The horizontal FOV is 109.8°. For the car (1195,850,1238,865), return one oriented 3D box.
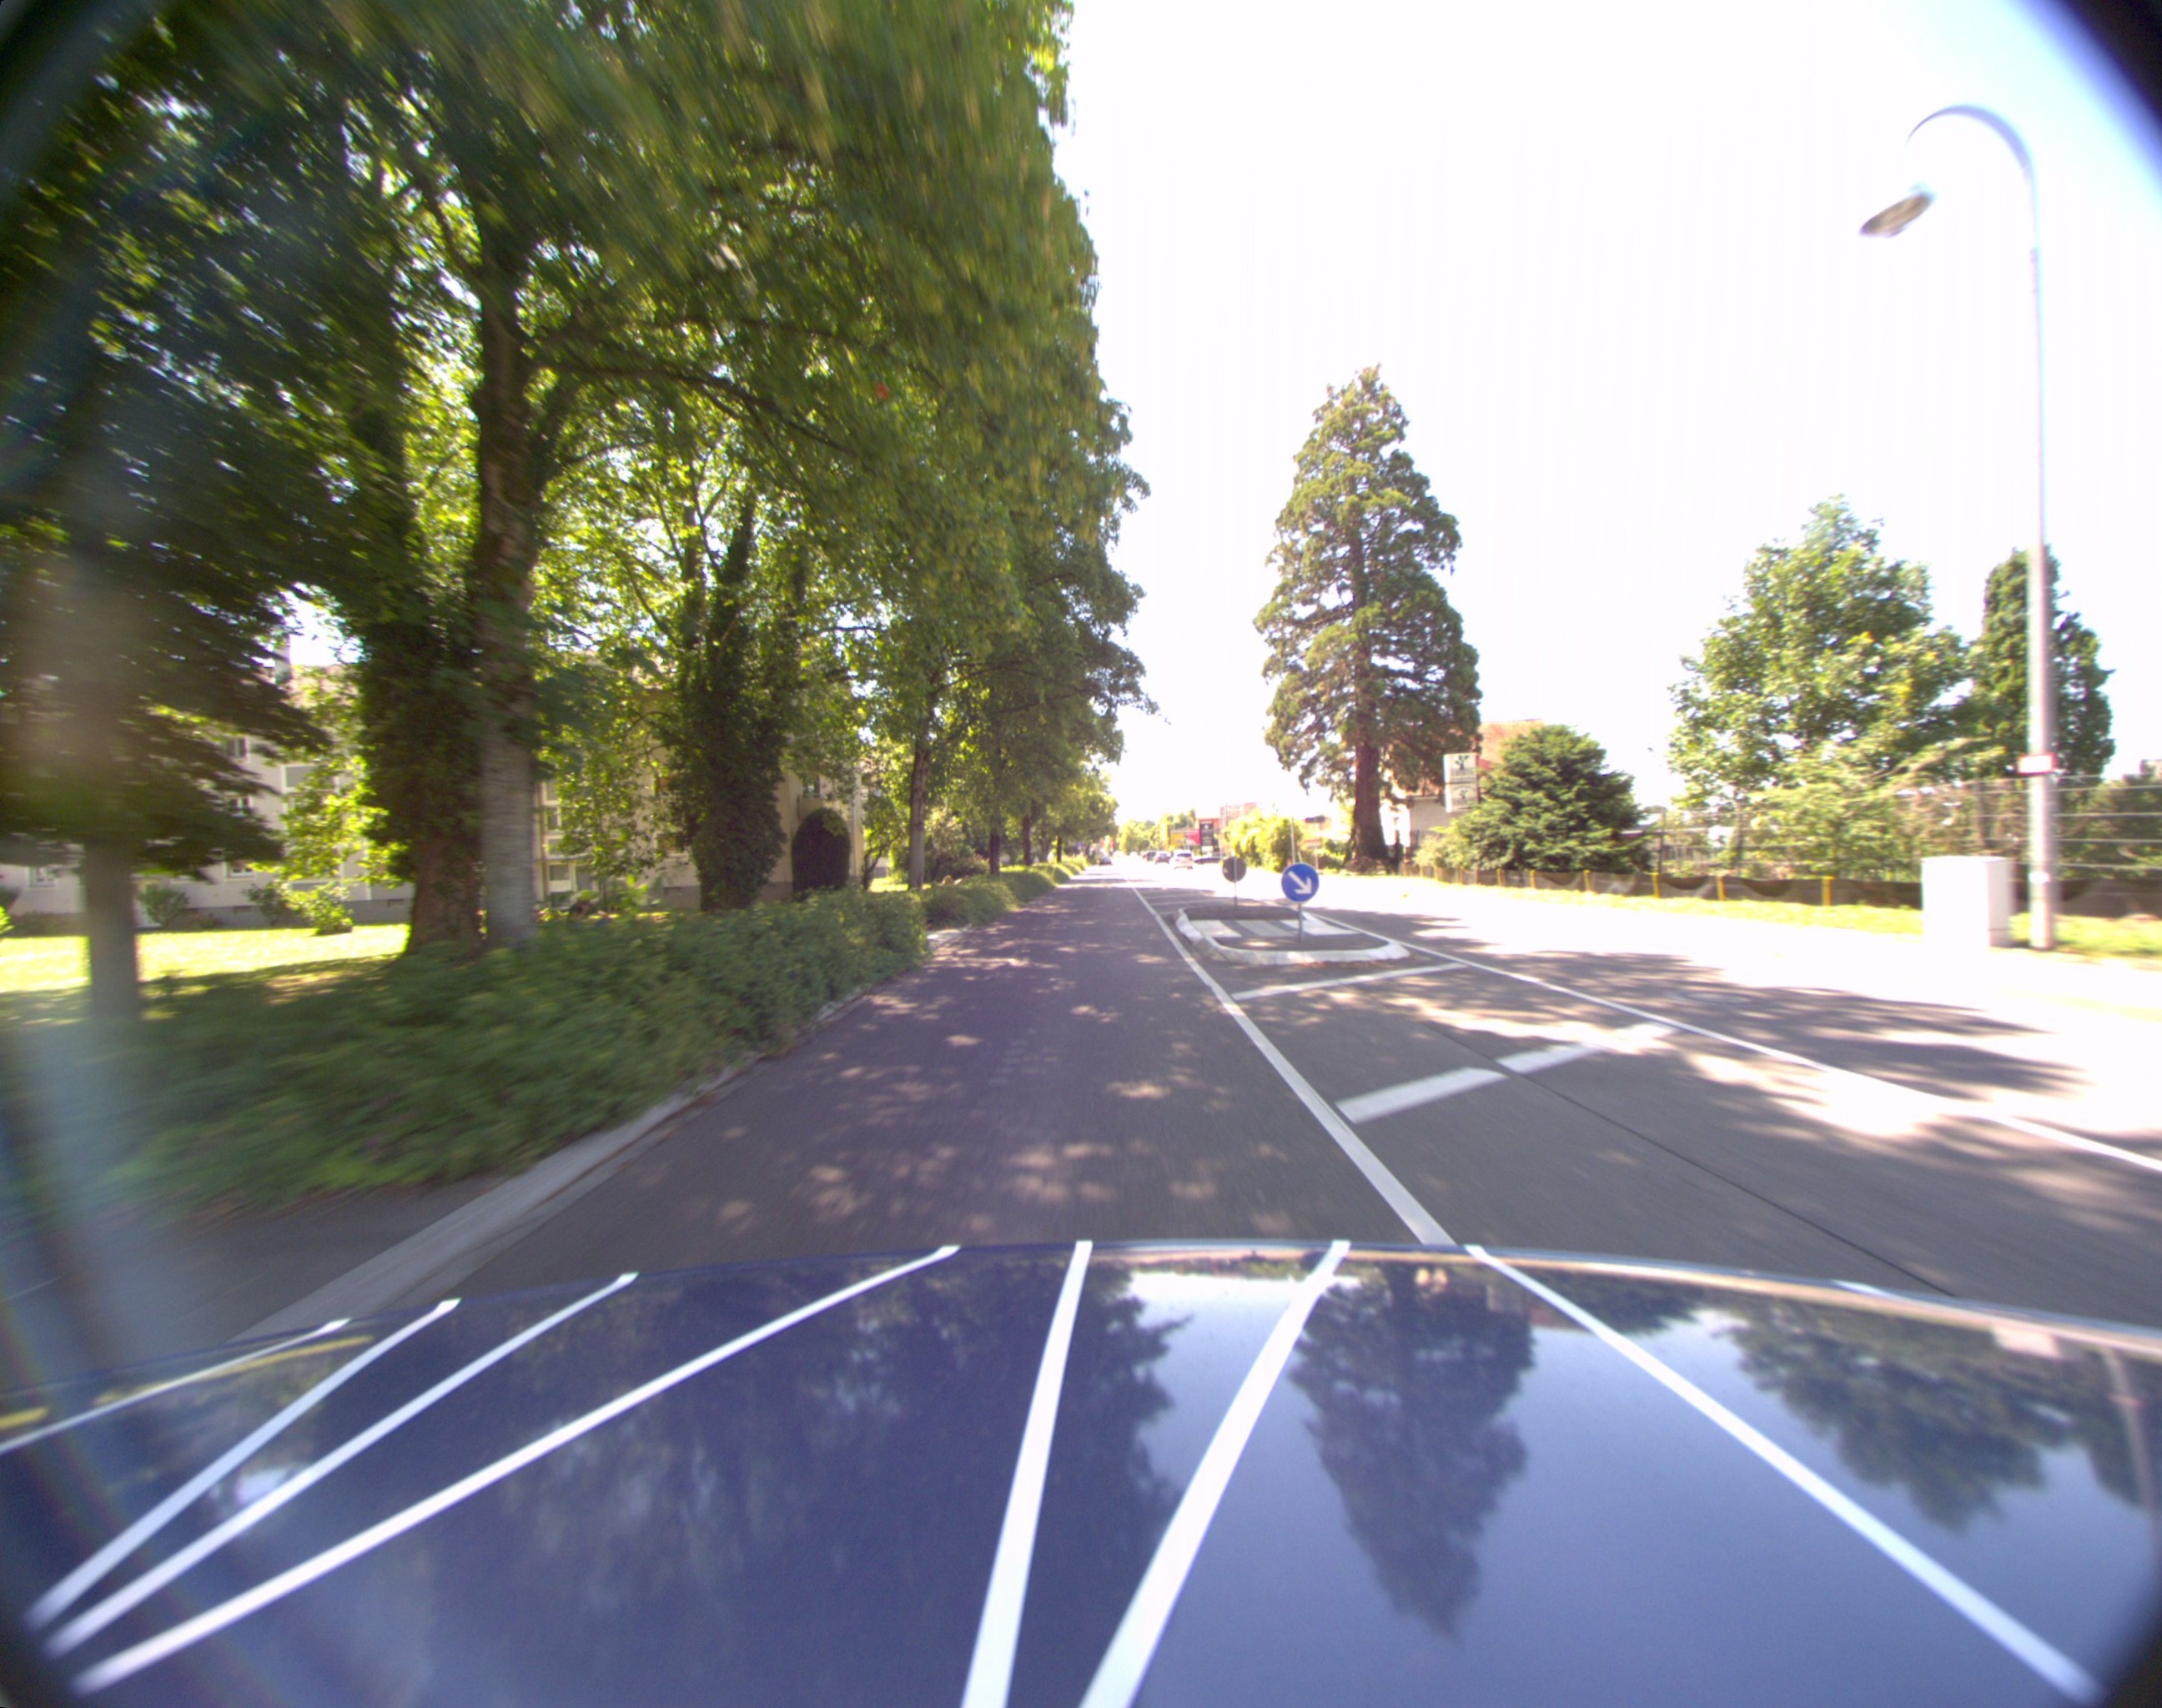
[{"bbox_3d":[14.981,0.351,83.966,4.311,1.540,1.888,-2,1,20],"label":"car"}]

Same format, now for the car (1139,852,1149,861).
[{"bbox_3d":[13.047,0.543,157.681,1.883,1.623,4.321,-2,0,4],"label":"car"}]

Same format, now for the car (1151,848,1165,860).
[{"bbox_3d":[11.444,-0.056,113.752,1.883,1.731,4.321,-2,0,4],"label":"car"}]

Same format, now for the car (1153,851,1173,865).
[{"bbox_3d":[9.648,0.434,89.846,1.884,1.540,4.321,-2,0,1],"label":"car"}]

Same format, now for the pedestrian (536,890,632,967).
[{"bbox_3d":[-9.147,1.362,14.018,0.940,1.285,1.070,-3,1,14],"label":"pedestrian"}]

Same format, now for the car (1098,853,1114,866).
[{"bbox_3d":[3.344,0.716,99.577,1.883,1.623,4.321,-2,0,4],"label":"car"}]

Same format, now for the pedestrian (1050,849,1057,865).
[{"bbox_3d":[-3.400,0.368,94.123,0.677,1.914,0.621,-3,1,2],"label":"pedestrian"}]

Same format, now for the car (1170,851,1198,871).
[{"bbox_3d":[8.852,0.570,65.767,1.787,1.635,4.689,-1,0,0],"label":"car"}]

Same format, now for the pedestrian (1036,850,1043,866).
[{"bbox_3d":[-4.852,0.480,89.001,0.677,1.914,0.621,-3,1,2],"label":"pedestrian"}]
